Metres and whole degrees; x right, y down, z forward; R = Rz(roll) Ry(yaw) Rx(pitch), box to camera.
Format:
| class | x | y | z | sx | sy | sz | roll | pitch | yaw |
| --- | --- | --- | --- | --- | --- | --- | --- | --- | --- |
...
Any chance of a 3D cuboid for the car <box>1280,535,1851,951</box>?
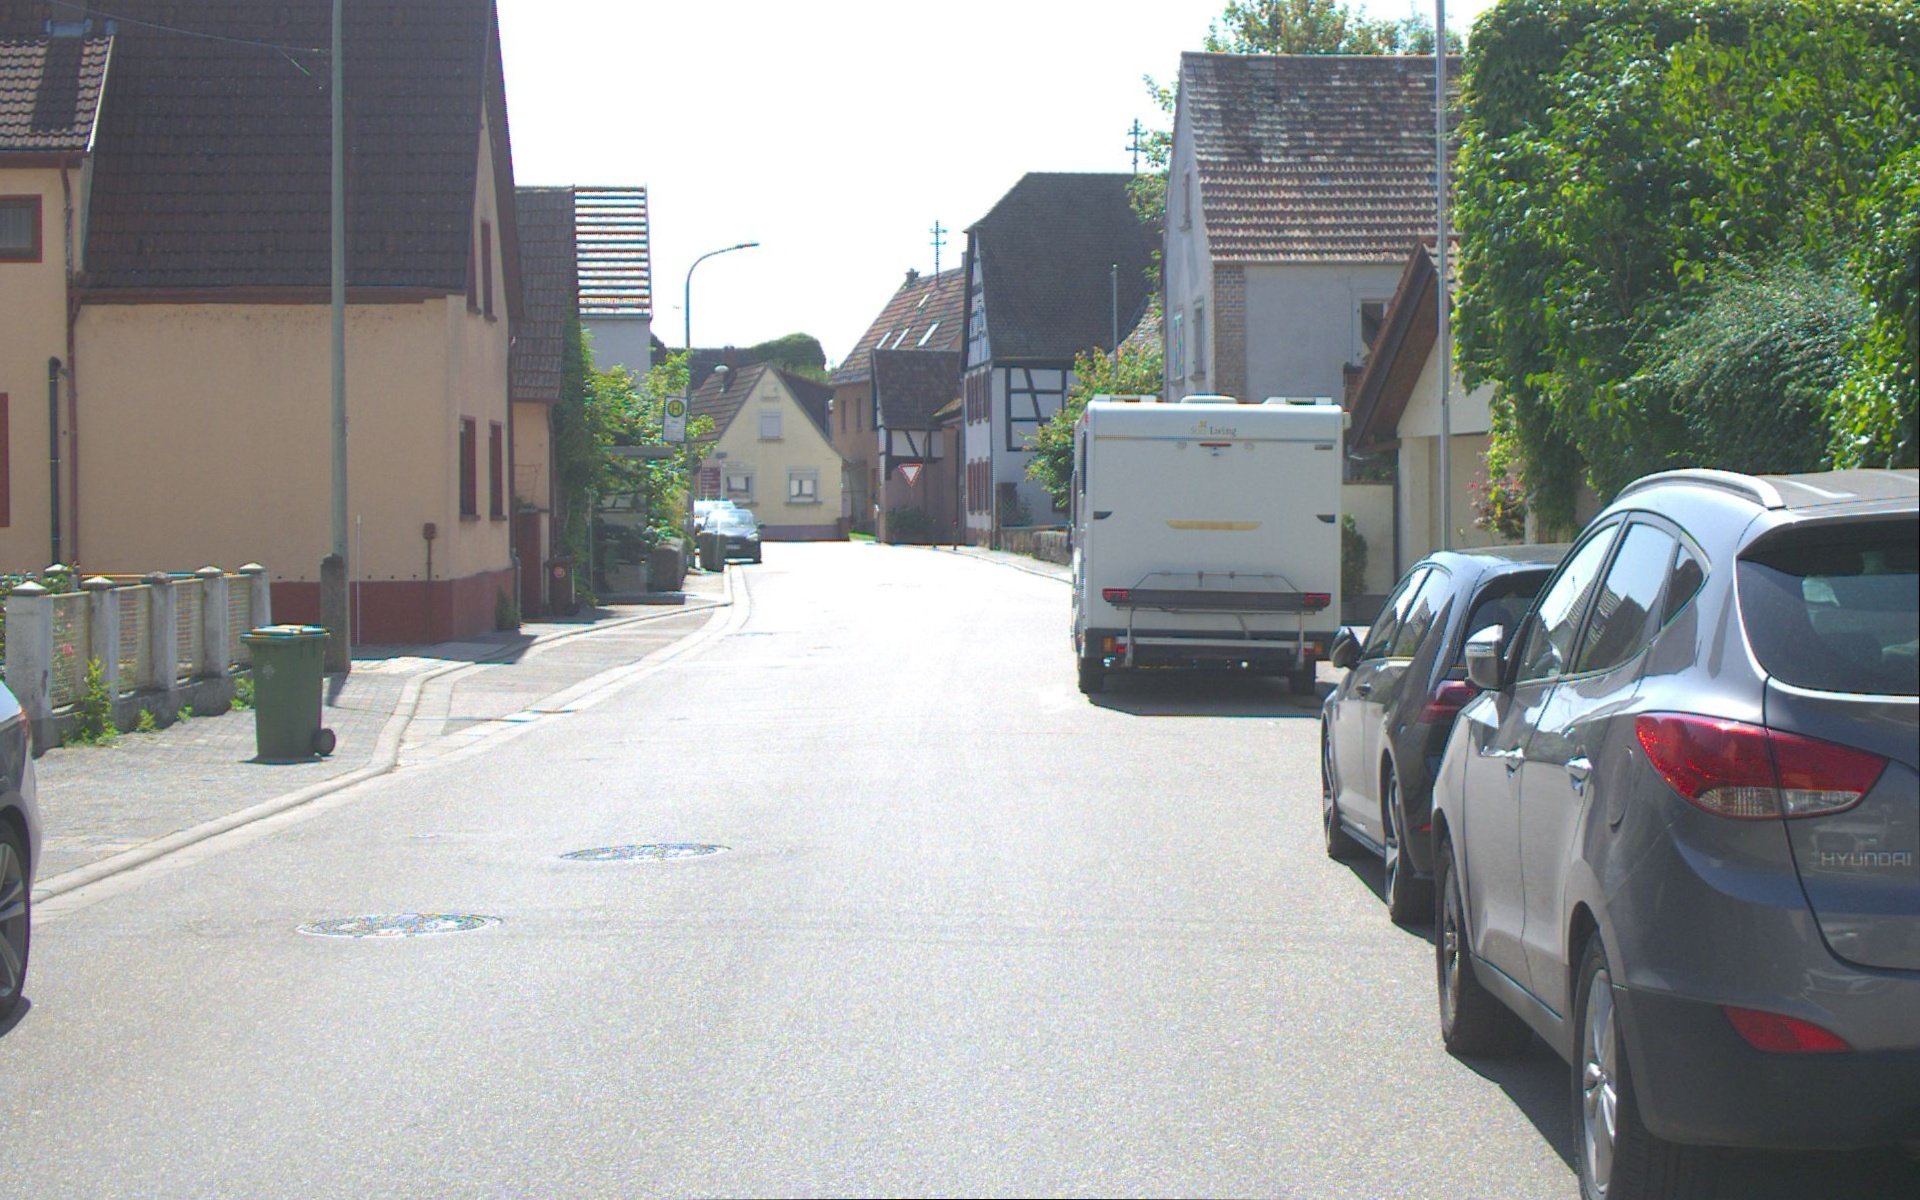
| class | x | y | z | sx | sy | sz | roll | pitch | yaw |
| --- | --- | --- | --- | --- | --- | --- | --- | --- | --- |
| car | 2.386 | 0.483 | 14.498 | 1.712 | 1.459 | 4.065 | -1 | 1 | 1 |

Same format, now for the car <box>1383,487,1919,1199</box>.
| class | x | y | z | sx | sy | sz | roll | pitch | yaw |
| --- | --- | --- | --- | --- | --- | --- | --- | --- | --- |
| car | 2.184 | 0.538 | 8.491 | 1.794 | 1.625 | 4.361 | -1 | 2 | 1 |

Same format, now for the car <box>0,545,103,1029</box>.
| class | x | y | z | sx | sy | sz | roll | pitch | yaw |
| --- | --- | --- | --- | --- | --- | --- | --- | --- | --- |
| car | -3.954 | 0.619 | 9.724 | 1.844 | 1.521 | 4.765 | 0 | 1 | 0 |

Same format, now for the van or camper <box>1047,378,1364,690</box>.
| class | x | y | z | sx | sy | sz | roll | pitch | yaw |
| --- | --- | --- | --- | --- | --- | --- | --- | --- | --- |
| van or camper | 2.192 | -0.619 | 32.157 | 2.521 | 2.687 | 4.556 | -1 | 1 | -1 |

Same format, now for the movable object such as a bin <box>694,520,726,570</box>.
| class | x | y | z | sx | sy | sz | roll | pitch | yaw |
| --- | --- | --- | --- | --- | --- | --- | --- | --- | --- |
| movable object such as a bin | -6.051 | -1.338 | 83.234 | 0.688 | 1.181 | 0.714 | -1 | 1 | 0 |

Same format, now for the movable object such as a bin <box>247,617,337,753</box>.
| class | x | y | z | sx | sy | sz | roll | pitch | yaw |
| --- | --- | --- | --- | --- | --- | --- | --- | --- | --- |
| movable object such as a bin | -4.798 | 0.605 | 24.701 | 0.539 | 0.946 | 0.553 | 1 | 1 | -1 |

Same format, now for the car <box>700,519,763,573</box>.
| class | x | y | z | sx | sy | sz | roll | pitch | yaw |
| --- | --- | --- | --- | --- | --- | --- | --- | --- | --- |
| car | -6.360 | -1.516 | 96.010 | 1.511 | 1.431 | 3.511 | -1 | 1 | -1 |
